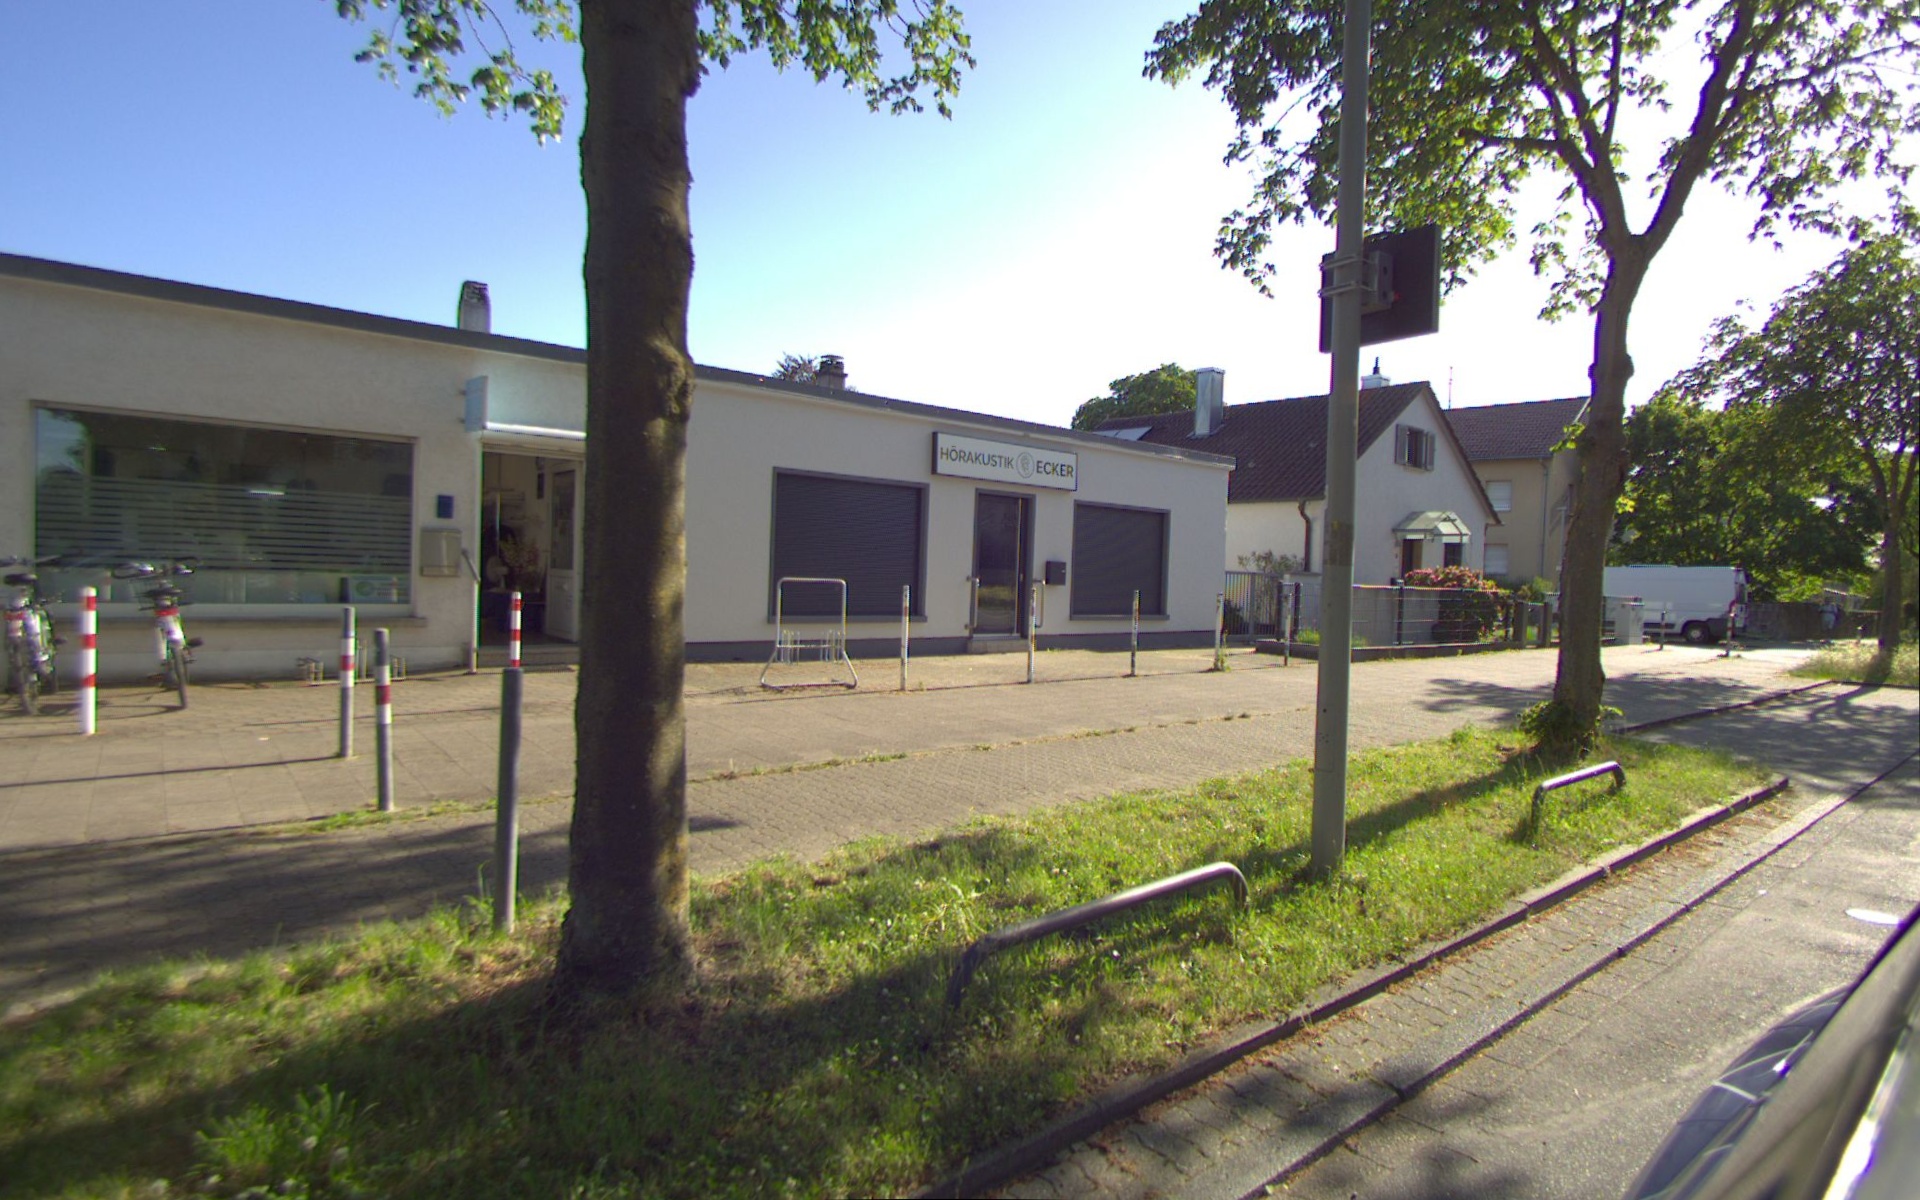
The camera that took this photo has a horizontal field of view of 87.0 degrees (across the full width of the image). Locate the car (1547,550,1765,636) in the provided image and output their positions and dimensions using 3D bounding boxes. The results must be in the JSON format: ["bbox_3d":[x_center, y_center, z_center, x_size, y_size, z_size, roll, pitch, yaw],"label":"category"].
[{"bbox_3d":[23.160,-0.299,33.885,2.227,2.570,5.603,1,2,-43],"label":"car"}]

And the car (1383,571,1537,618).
[{"bbox_3d":[18.898,-0.248,38.381,2.246,1.601,4.747,2,0,-43],"label":"car"}]

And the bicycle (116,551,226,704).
[{"bbox_3d":[-6.362,0.170,8.123,0.566,1.010,1.962,3,3,-41],"label":"bicycle"}]

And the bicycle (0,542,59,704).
[{"bbox_3d":[-7.049,0.116,7.436,0.566,1.010,1.928,3,3,-41],"label":"bicycle"}]

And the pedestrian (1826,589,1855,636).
[{"bbox_3d":[33.698,0.469,38.734,0.601,1.726,0.638,3,3,-41],"label":"pedestrian"}]
